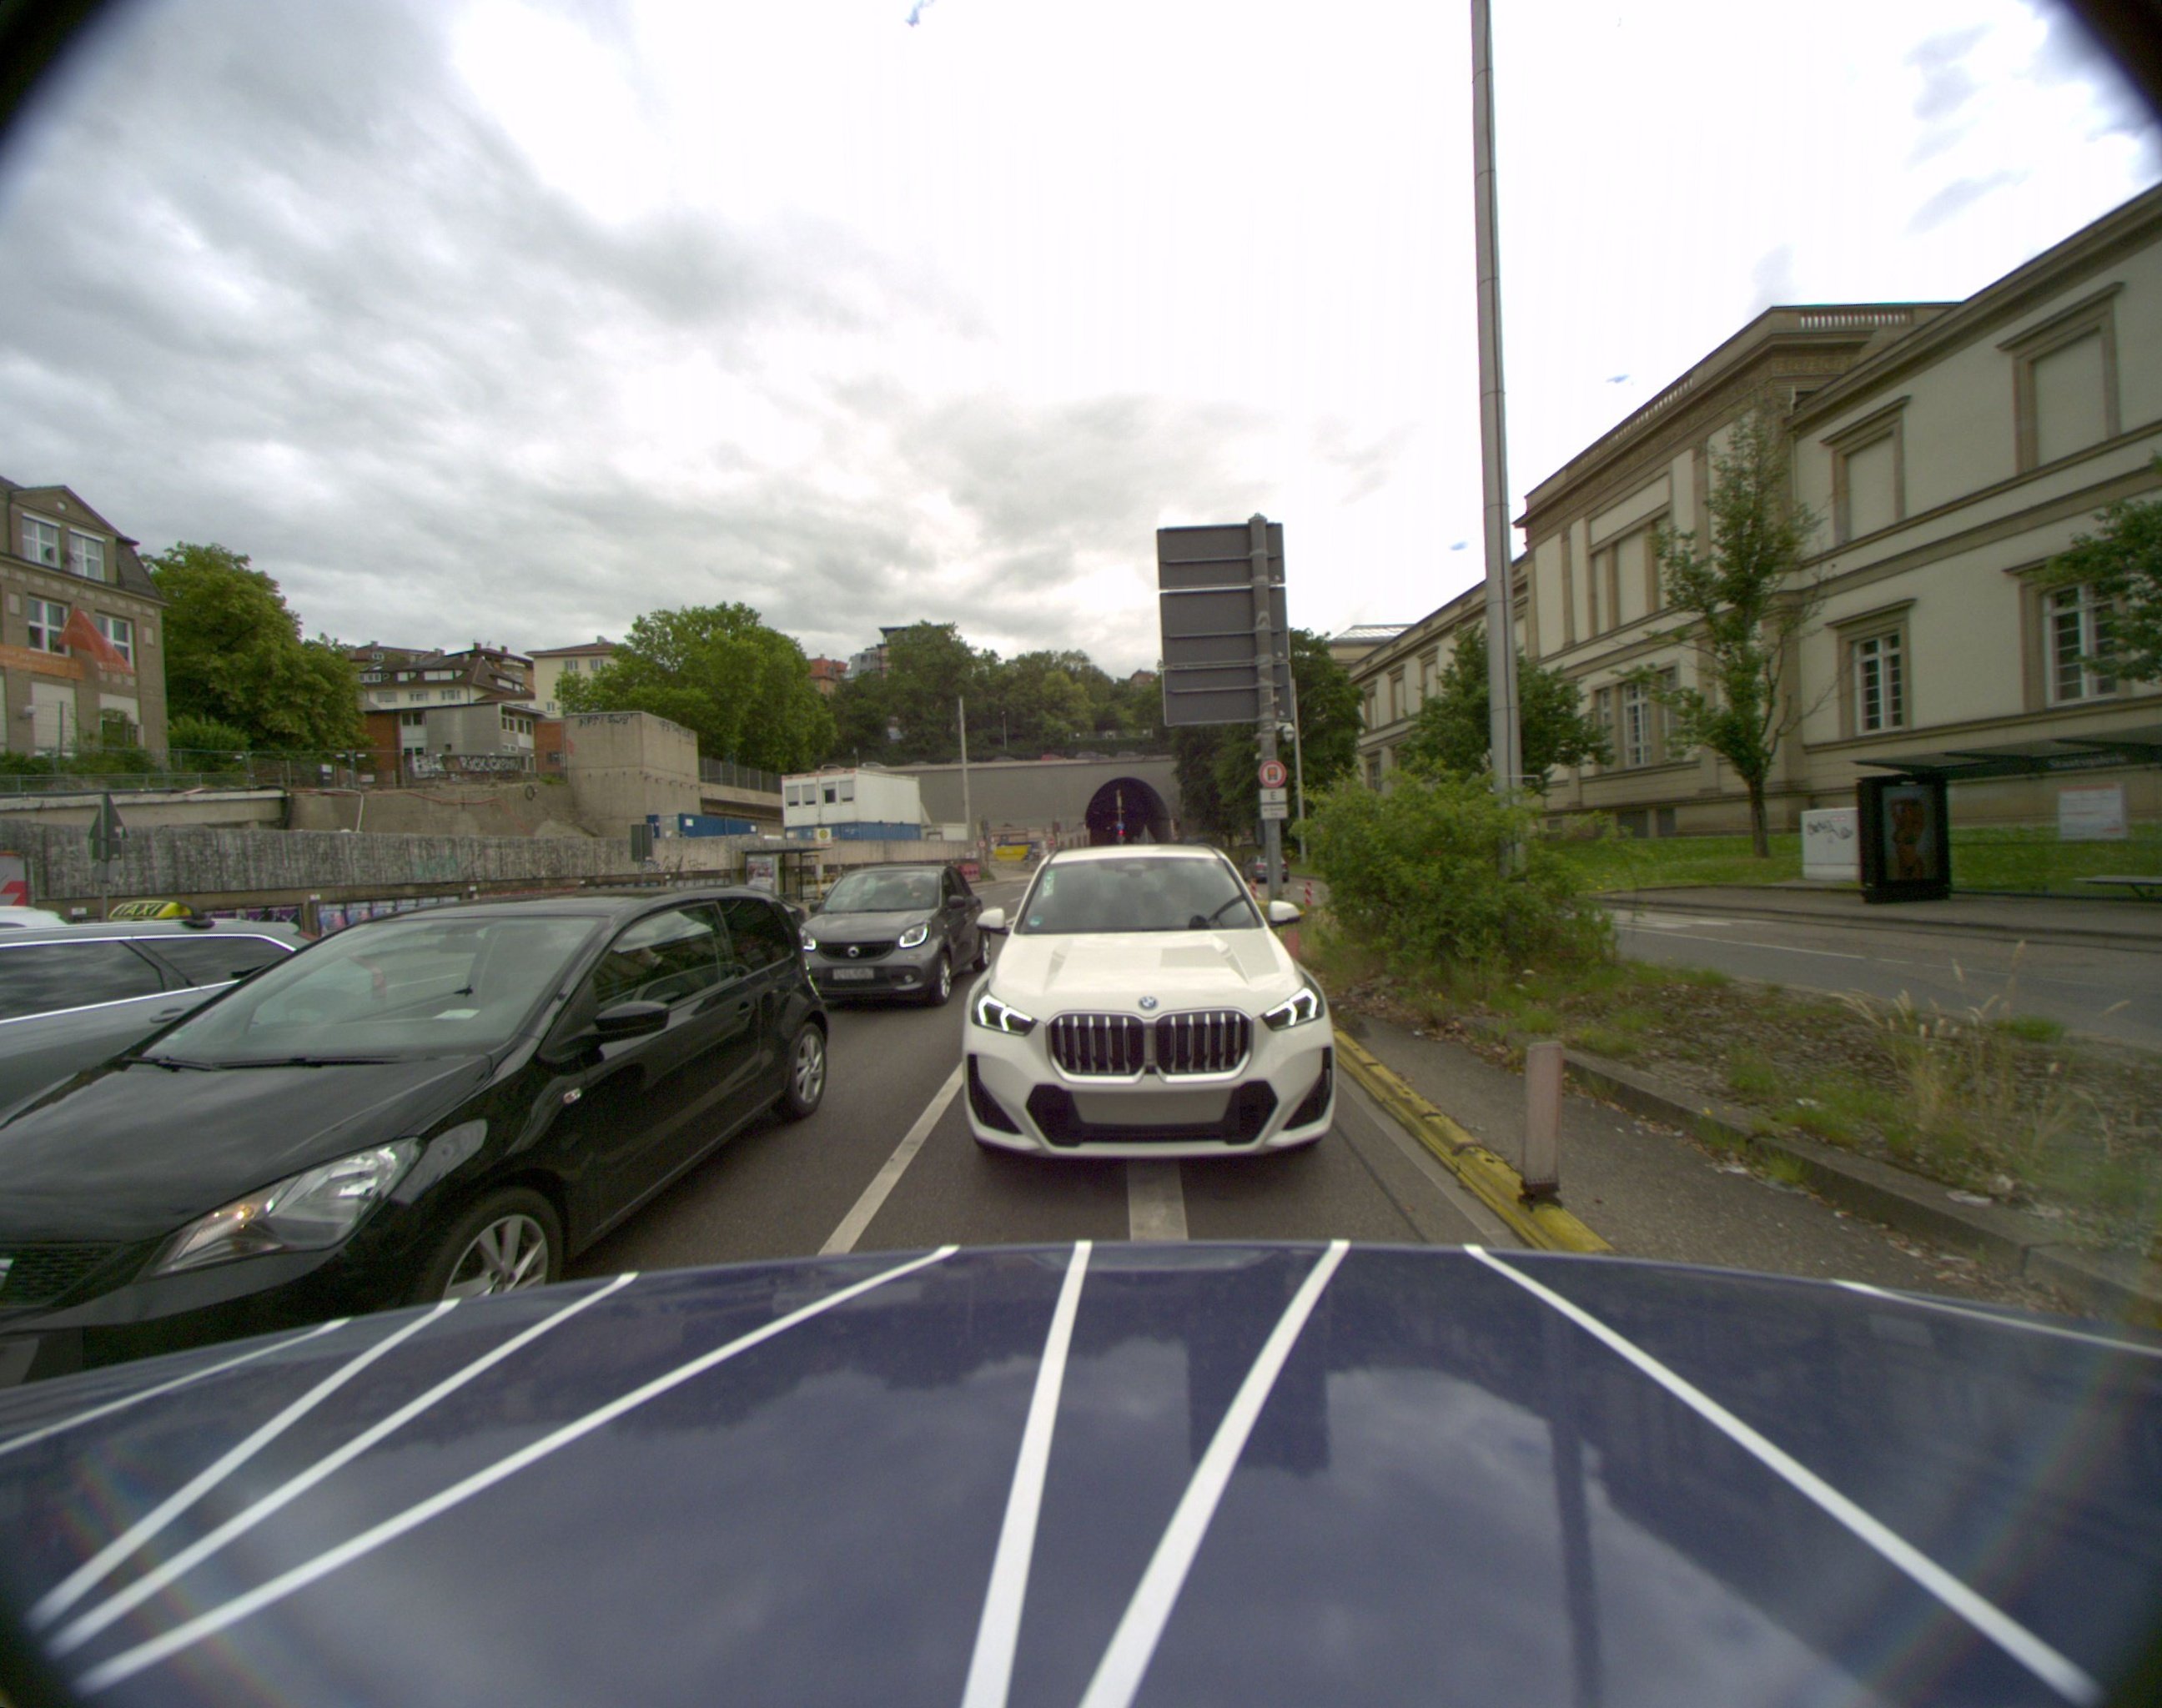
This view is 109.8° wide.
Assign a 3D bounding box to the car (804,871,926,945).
[{"bbox_3d":[-4.916,1.174,17.817,1.680,1.358,3.806,-2,1,1],"label":"car"}]

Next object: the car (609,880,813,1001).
[{"bbox_3d":[-5.392,1.200,11.460,1.665,1.423,2.714,-2,1,1],"label":"car"}]

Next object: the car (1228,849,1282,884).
[{"bbox_3d":[8.642,0.585,38.028,1.778,1.609,3.802,-2,1,-1],"label":"car"}]

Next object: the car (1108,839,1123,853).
[{"bbox_3d":[4.115,-0.947,89.453,1.680,1.450,3.807,-2,1,3],"label":"car"}]

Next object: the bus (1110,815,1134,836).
[{"bbox_3d":[6.847,-4.646,126.861,3.171,3.129,9.118,-2,1,-1],"label":"bus"}]

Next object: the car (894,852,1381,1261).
[{"bbox_3d":[0.264,0.853,5.023,1.987,1.615,3.670,-2,1,1],"label":"car"}]

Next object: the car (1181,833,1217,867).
[{"bbox_3d":[9.254,-0.353,60.074,2.203,2.493,4.758,-2,1,2],"label":"car"}]

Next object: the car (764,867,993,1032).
[{"bbox_3d":[-2.237,0.988,9.391,1.720,1.535,3.575,-2,0,2],"label":"car"}]

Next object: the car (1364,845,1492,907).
[{"bbox_3d":[9.122,0.534,20.289,1.646,1.469,3.574,-2,0,-2],"label":"car"}]

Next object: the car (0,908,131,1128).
[{"bbox_3d":[-9.105,1.327,4.450,1.680,1.615,4.209,-2,1,1],"label":"car"}]

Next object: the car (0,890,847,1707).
[{"bbox_3d":[-2.570,1.024,3.348,1.829,1.450,3.700,-2,1,1],"label":"car"}]

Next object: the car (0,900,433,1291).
[{"bbox_3d":[-5.855,1.214,3.308,1.829,1.615,4.808,-2,1,1],"label":"car"}]

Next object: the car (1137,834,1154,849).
[{"bbox_3d":[7.991,-1.575,94.193,1.946,1.714,4.000,-2,1,4],"label":"car"}]
